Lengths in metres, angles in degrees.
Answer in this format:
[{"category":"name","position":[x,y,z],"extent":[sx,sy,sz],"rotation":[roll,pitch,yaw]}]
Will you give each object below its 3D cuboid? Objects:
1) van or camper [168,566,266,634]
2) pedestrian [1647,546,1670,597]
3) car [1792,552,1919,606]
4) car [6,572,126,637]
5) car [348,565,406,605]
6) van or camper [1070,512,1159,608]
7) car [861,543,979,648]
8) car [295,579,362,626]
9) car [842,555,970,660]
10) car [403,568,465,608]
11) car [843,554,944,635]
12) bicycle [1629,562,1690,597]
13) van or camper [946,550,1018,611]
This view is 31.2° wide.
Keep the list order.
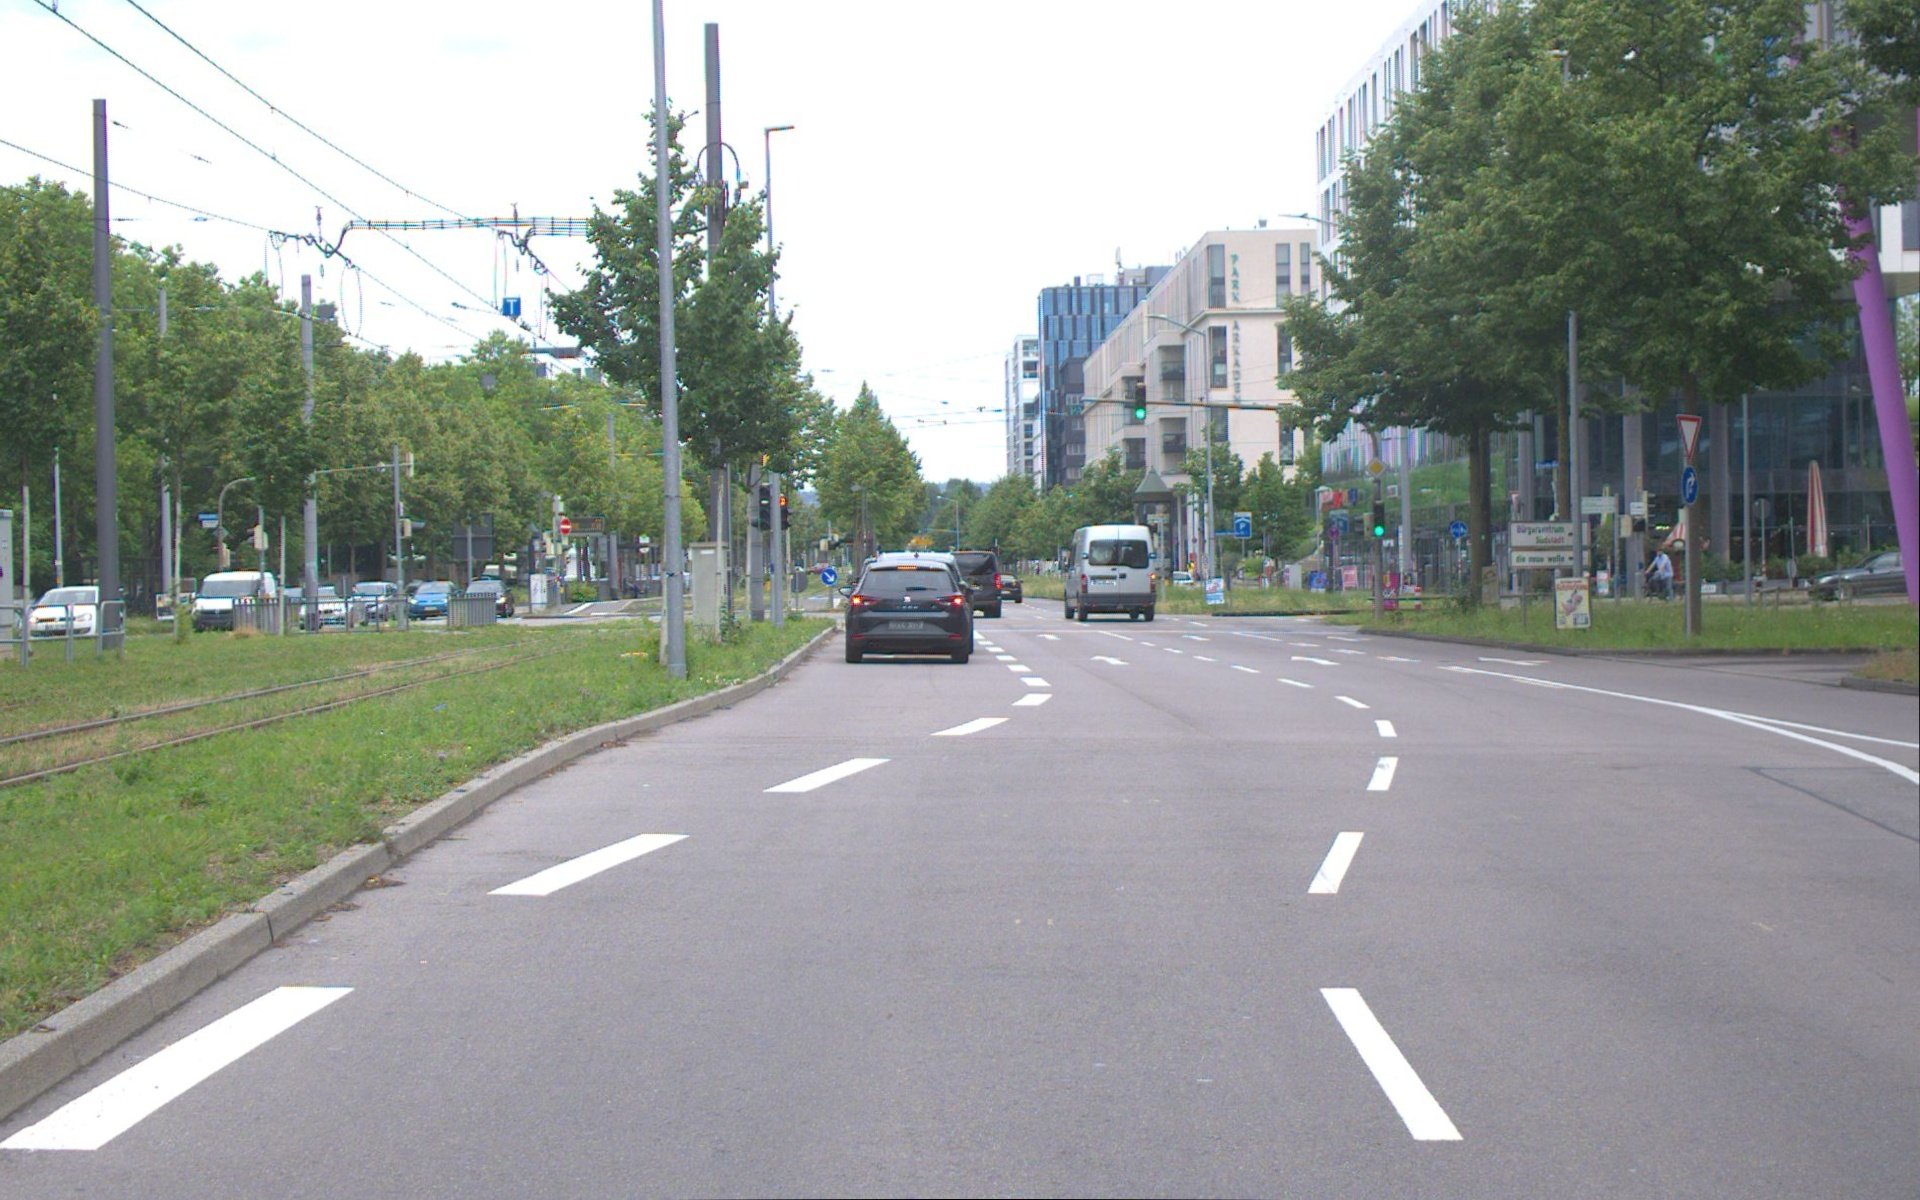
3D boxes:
[{"category":"van or camper","position":[-21.823,-0.034,101.106],"extent":[1.889,1.894,5.125],"rotation":[-2,1,-2]},{"category":"pedestrian","position":[22.358,-0.913,110.077],"extent":[0.614,1.599,0.618],"rotation":[-1,0,2]},{"category":"car","position":[28.546,-0.670,108.245],"extent":[4.251,1.609,1.758],"rotation":[-1,1,1]},{"category":"car","position":[-21.645,0.084,83.380],"extent":[1.762,1.474,4.573],"rotation":[-2,1,-1]},{"category":"car","position":[-24.214,-0.612,142.825],"extent":[1.796,1.565,4.579],"rotation":[2,0,-3]},{"category":"van or camper","position":[4.028,-1.080,90.124],"extent":[2.109,2.348,4.923],"rotation":[0,2,0]},{"category":"car","position":[-0.645,-0.093,55.488],"extent":[1.802,1.619,4.000],"rotation":[-1,1,-1]},{"category":"car","position":[-21.382,0.068,116.554],"extent":[1.728,1.440,4.923],"rotation":[-3,1,-5]},{"category":"car","position":[-0.787,0.077,49.066],"extent":[1.743,1.412,4.000],"rotation":[1,1,-1]},{"category":"car","position":[-21.423,-0.510,140.131],"extent":[1.964,1.583,4.689],"rotation":[0,1,-2]},{"category":"car","position":[-1.419,-0.143,74.564],"extent":[1.993,1.676,4.000],"rotation":[0,1,2]},{"category":"bicycle","position":[22.397,-0.647,110.078],"extent":[1.792,1.082,0.618],"rotation":[-1,0,2]},{"category":"van or camper","position":[0.609,-0.565,97.595],"extent":[1.993,1.610,4.789],"rotation":[0,2,0]}]
